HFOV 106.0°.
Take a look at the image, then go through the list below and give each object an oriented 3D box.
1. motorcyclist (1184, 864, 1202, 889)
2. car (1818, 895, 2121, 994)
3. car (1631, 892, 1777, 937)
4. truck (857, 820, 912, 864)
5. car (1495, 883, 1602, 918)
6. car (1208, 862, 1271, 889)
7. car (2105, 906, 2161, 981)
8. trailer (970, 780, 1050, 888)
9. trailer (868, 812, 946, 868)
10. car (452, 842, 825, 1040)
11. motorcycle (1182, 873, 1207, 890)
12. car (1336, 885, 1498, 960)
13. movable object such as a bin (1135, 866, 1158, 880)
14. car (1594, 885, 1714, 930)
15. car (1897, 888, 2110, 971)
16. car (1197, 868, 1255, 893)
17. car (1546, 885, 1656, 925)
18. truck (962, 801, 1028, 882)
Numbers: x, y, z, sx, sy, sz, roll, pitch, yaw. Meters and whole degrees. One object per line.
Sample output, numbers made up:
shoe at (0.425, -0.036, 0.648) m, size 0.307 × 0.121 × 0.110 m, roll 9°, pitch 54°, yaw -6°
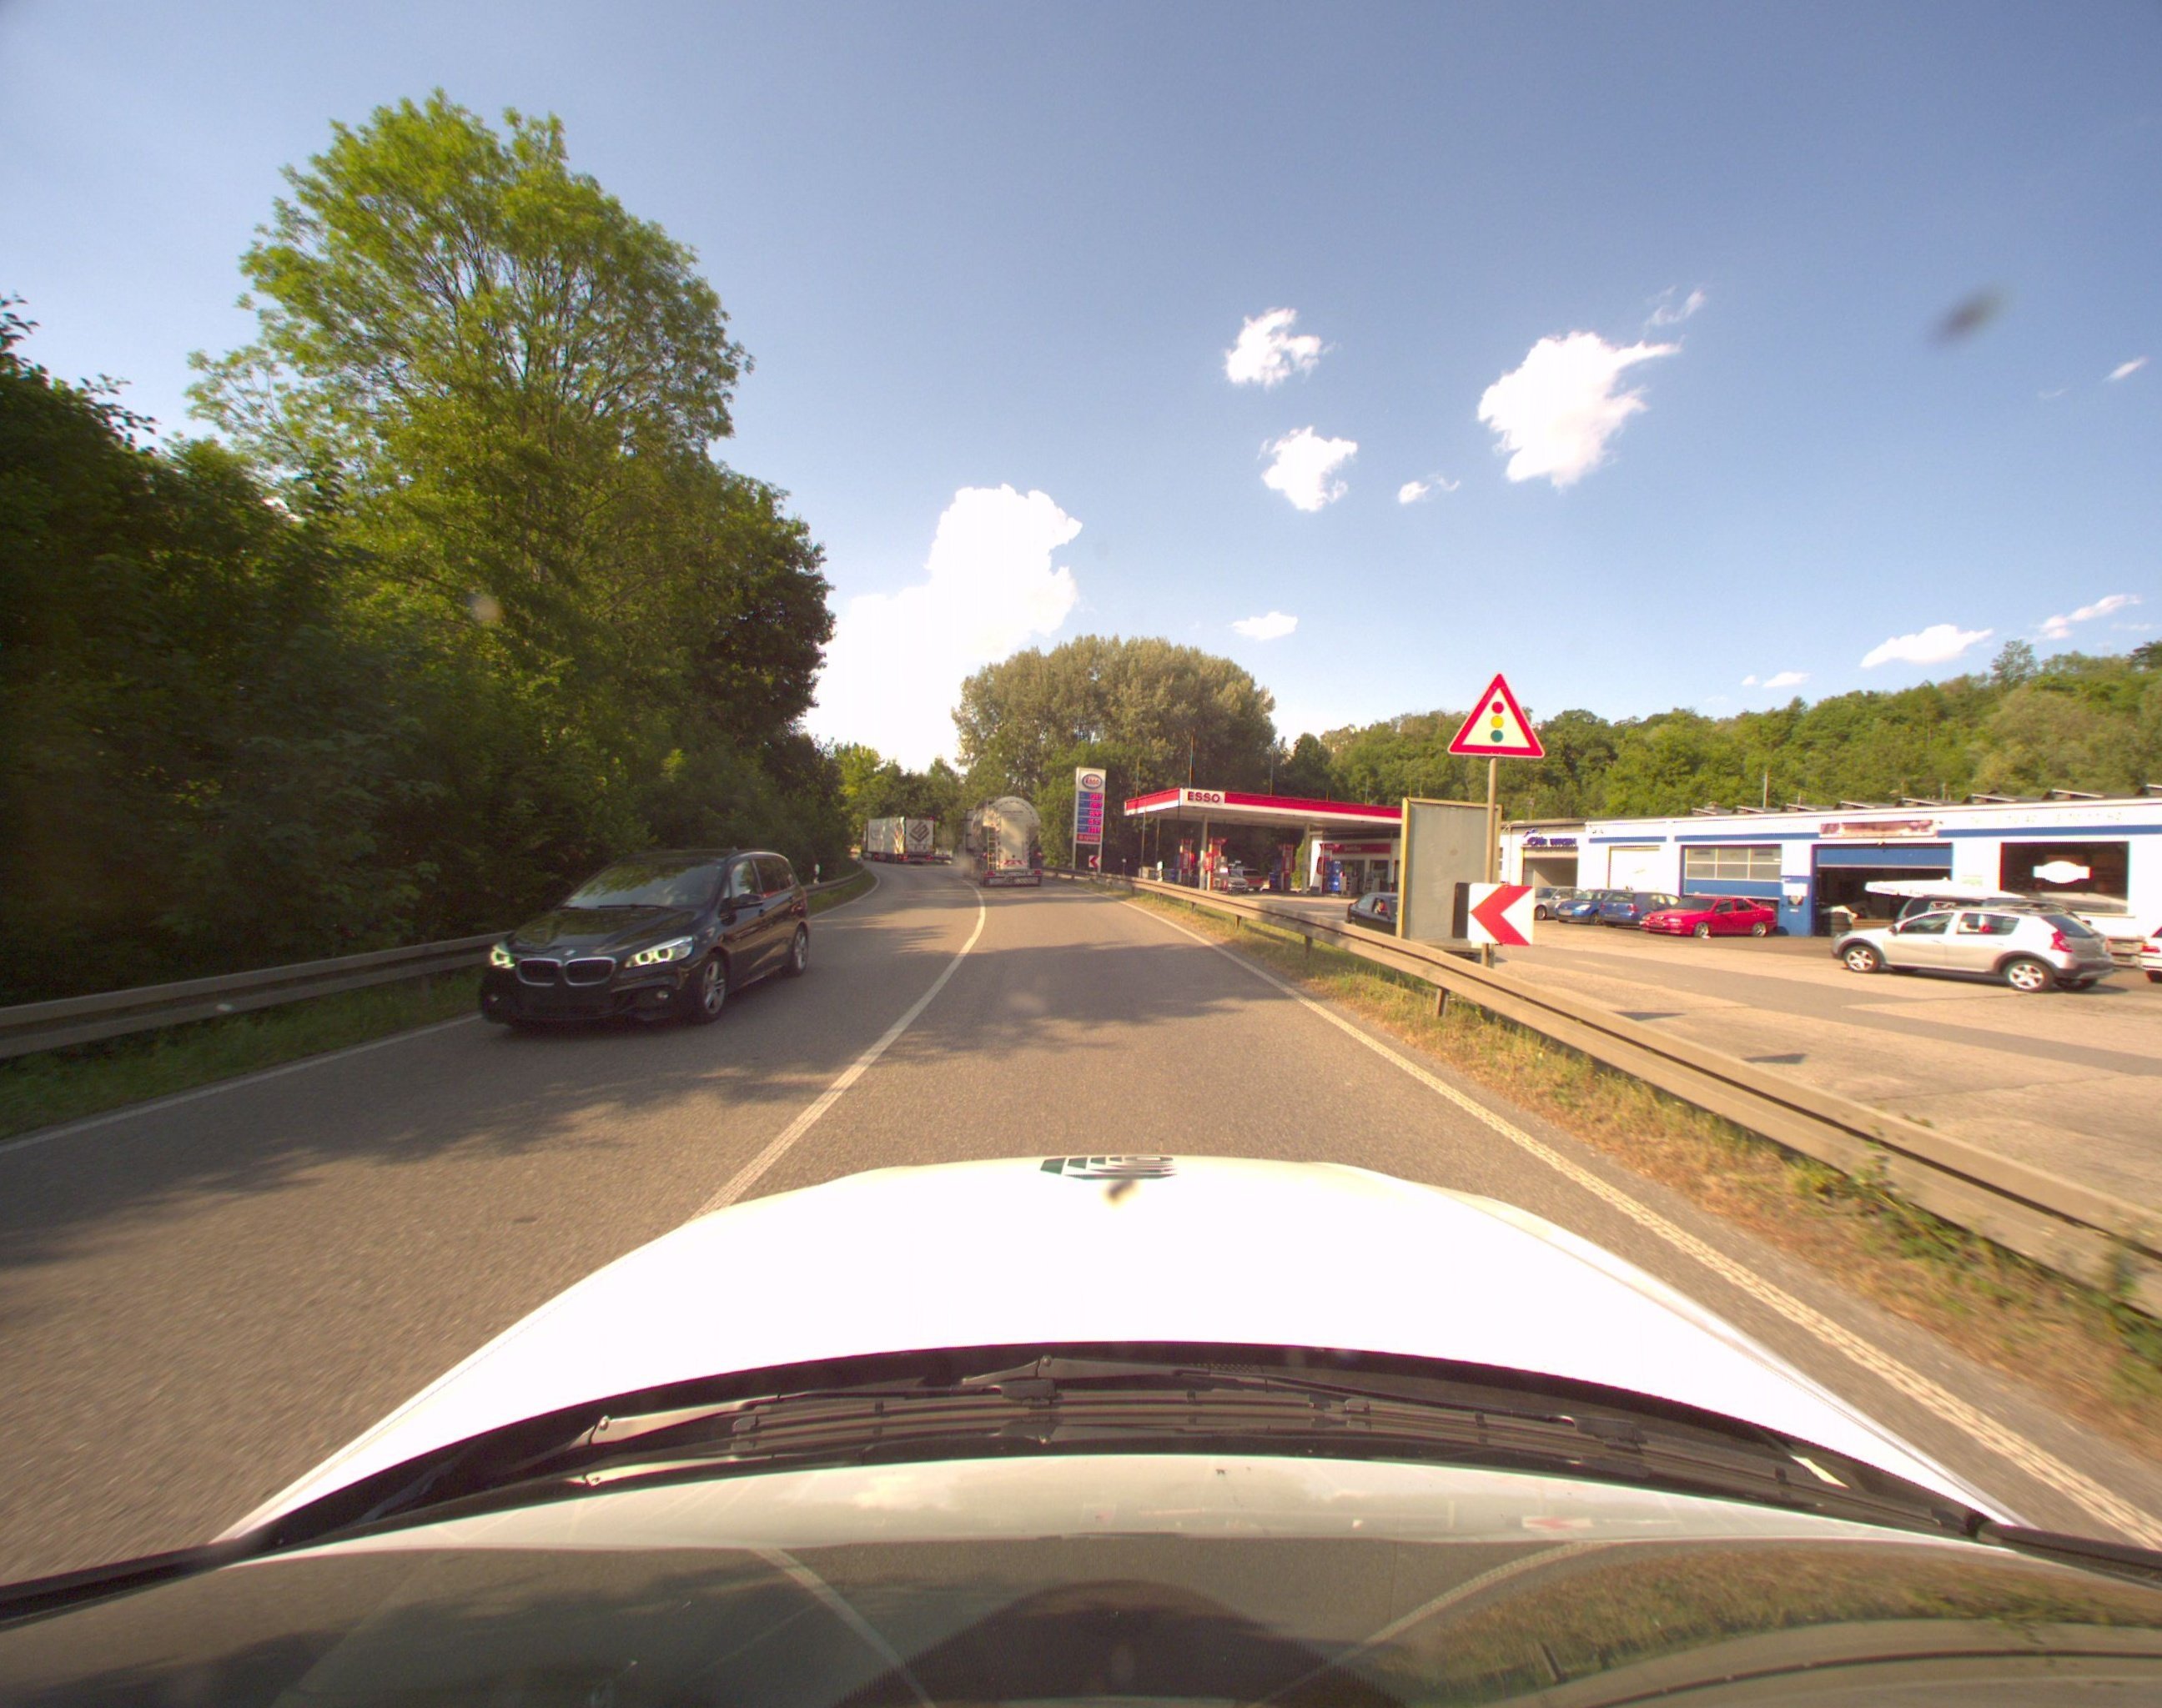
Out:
motorcyclist at (7.383, 1.465, 53.684) m, size 0.859 × 1.605 × 0.923 m, roll 3°, pitch -1°, yaw -15°
car at (18.453, 1.777, 17.190) m, size 1.795 × 1.596 × 3.964 m, roll 0°, pitch 0°, yaw -18°
car at (21.342, 2.034, 27.942) m, size 4.073 × 1.348 × 1.885 m, roll 1°, pitch 0°, yaw -15°
truck at (-19.410, -1.172, 80.173) m, size 3.471 × 4.086 × 6.429 m, roll 2°, pitch 0°, yaw -30°
car at (19.794, 1.962, 34.533) m, size 3.968 × 1.354 × 1.766 m, roll 1°, pitch 0°, yaw -19°
car at (10.701, 1.431, 55.431) m, size 2.096 × 1.628 × 5.153 m, roll 2°, pitch 0°, yaw -15°
car at (24.432, 1.896, 17.345) m, size 4.154 × 1.461 × 1.860 m, roll 0°, pitch 0°, yaw -17°
trailer at (-3.585, -0.834, 38.521) m, size 2.887 × 4.454 × 9.571 m, roll 0°, pitch 0°, yaw -10°
trailer at (-15.956, -1.258, 73.521) m, size 3.565 × 4.513 × 12.870 m, roll 2°, pitch 0°, yaw -27°
car at (-4.288, 0.705, 8.802) m, size 1.863 × 1.589 × 4.243 m, roll -1°, pitch 0°, yaw -3°
motorcycle at (7.422, 1.773, 53.447) m, size 0.763 × 1.012 × 2.329 m, roll 2°, pitch 0°, yaw -15°
car at (7.793, 1.537, 19.388) m, size 1.821 × 1.352 × 4.265 m, roll 2°, pitch 0°, yaw -5°
movable object such as a bin at (7.456, 2.132, 92.672) m, size 1.273 × 1.420 × 2.534 m, roll 6°, pitch -2°, yaw -29°
car at (21.037, 1.961, 29.947) m, size 3.549 × 1.445 × 1.725 m, roll 2°, pitch 0°, yaw -15°
car at (22.278, 1.745, 19.697) m, size 4.258 × 1.728 × 1.881 m, roll 0°, pitch 0°, yaw -18°
car at (8.882, 1.635, 50.235) m, size 1.845 × 1.319 × 4.369 m, roll 2°, pitch 0°, yaw -14°
car at (20.435, 1.991, 32.032) m, size 3.556 × 1.406 × 1.682 m, roll 2°, pitch 0°, yaw -15°
truck at (-4.695, -0.638, 43.597) m, size 2.827 × 4.035 × 5.868 m, roll 0°, pitch 0°, yaw -13°
